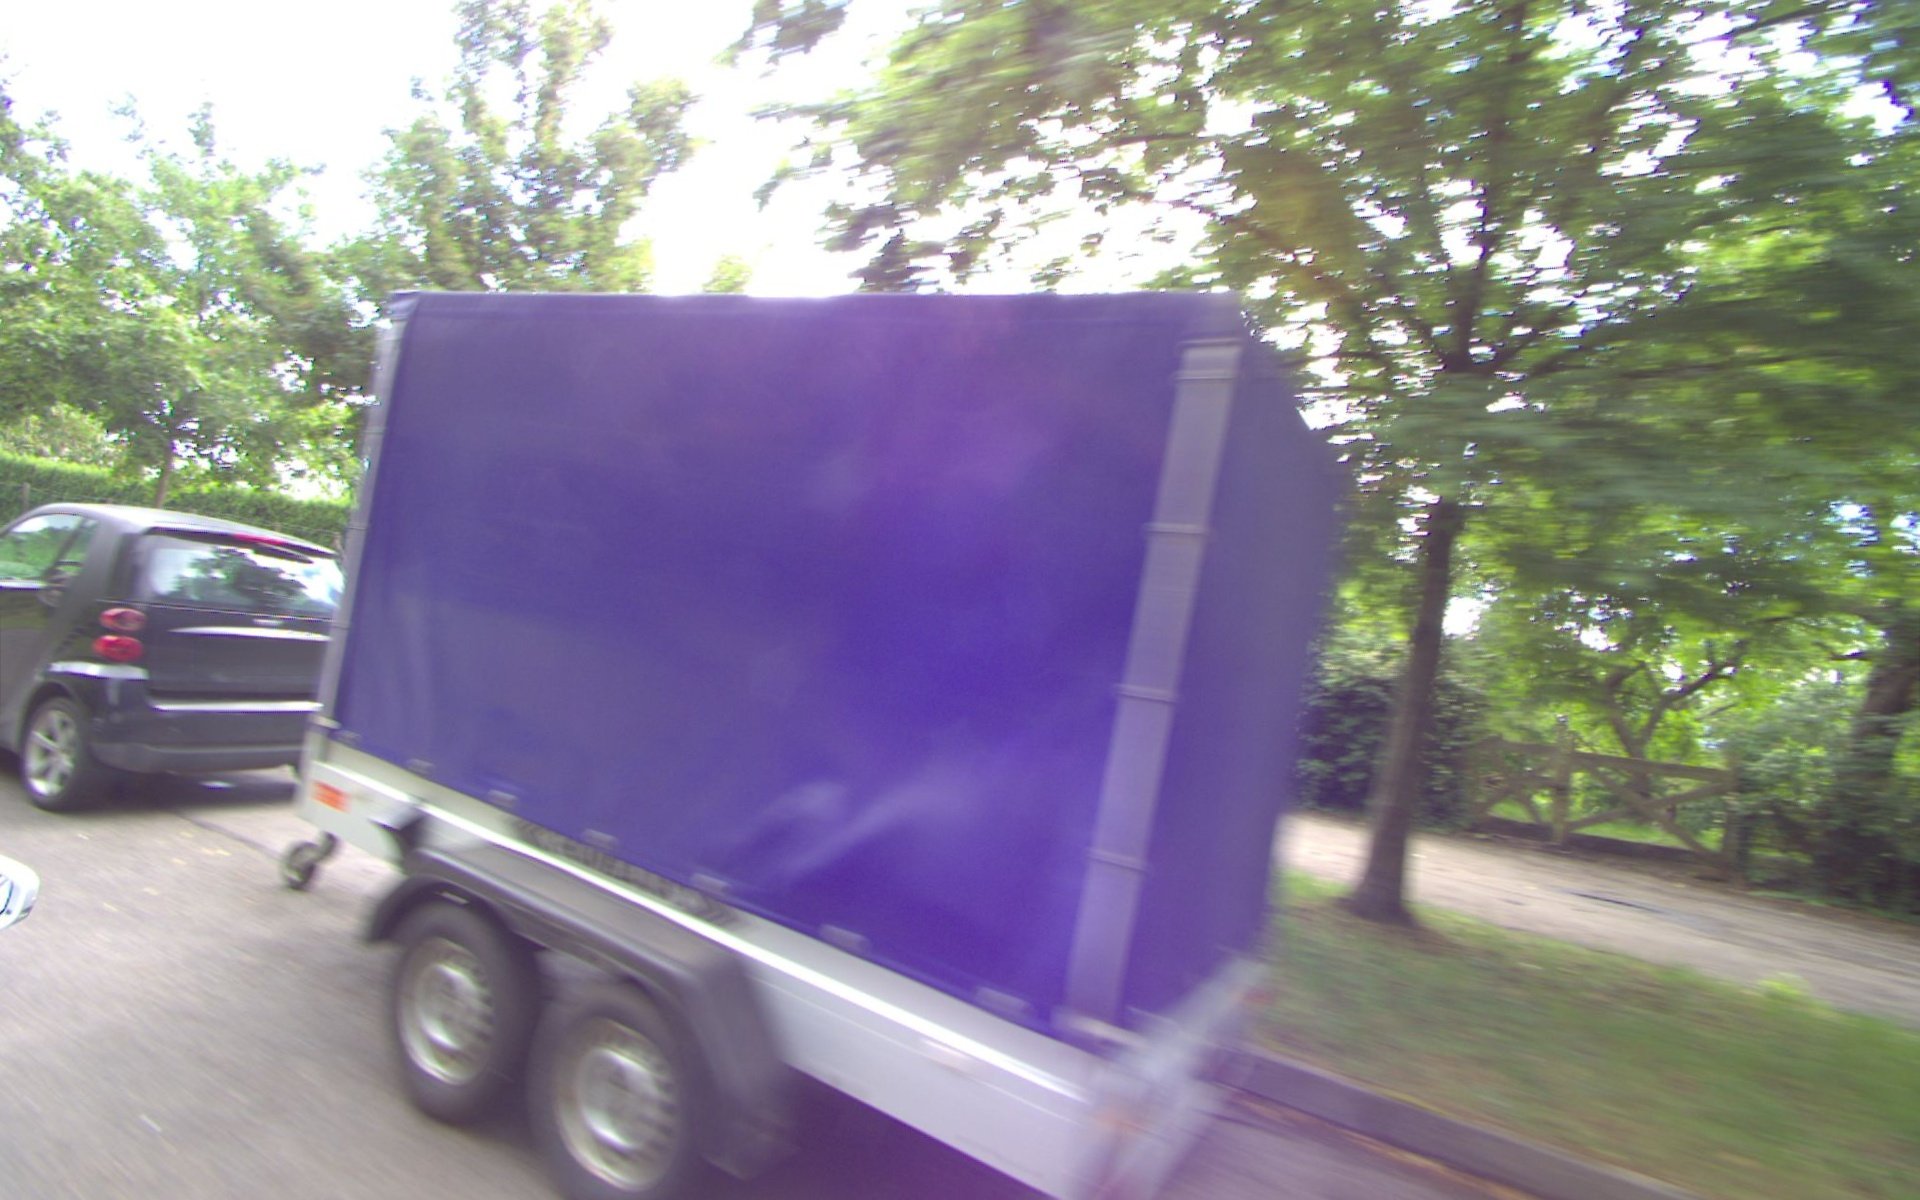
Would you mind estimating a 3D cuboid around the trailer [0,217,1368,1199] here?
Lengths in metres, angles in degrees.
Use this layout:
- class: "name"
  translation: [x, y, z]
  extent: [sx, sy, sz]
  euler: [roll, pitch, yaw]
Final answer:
- class: "trailer"
  translation: [-1.181, 0.274, 3.814]
  extent: [4.618, 2.390, 2.112]
  euler: [9, 0, 27]

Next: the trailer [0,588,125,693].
- class: "trailer"
  translation: [-10.141, -0.027, 8.606]
  extent: [6.286, 0.658, 2.113]
  euler: [7, -4, 25]

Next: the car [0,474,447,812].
- class: "car"
  translation: [-5.154, 0.171, 6.190]
  extent: [3.345, 1.538, 1.736]
  euler: [6, -4, 26]
